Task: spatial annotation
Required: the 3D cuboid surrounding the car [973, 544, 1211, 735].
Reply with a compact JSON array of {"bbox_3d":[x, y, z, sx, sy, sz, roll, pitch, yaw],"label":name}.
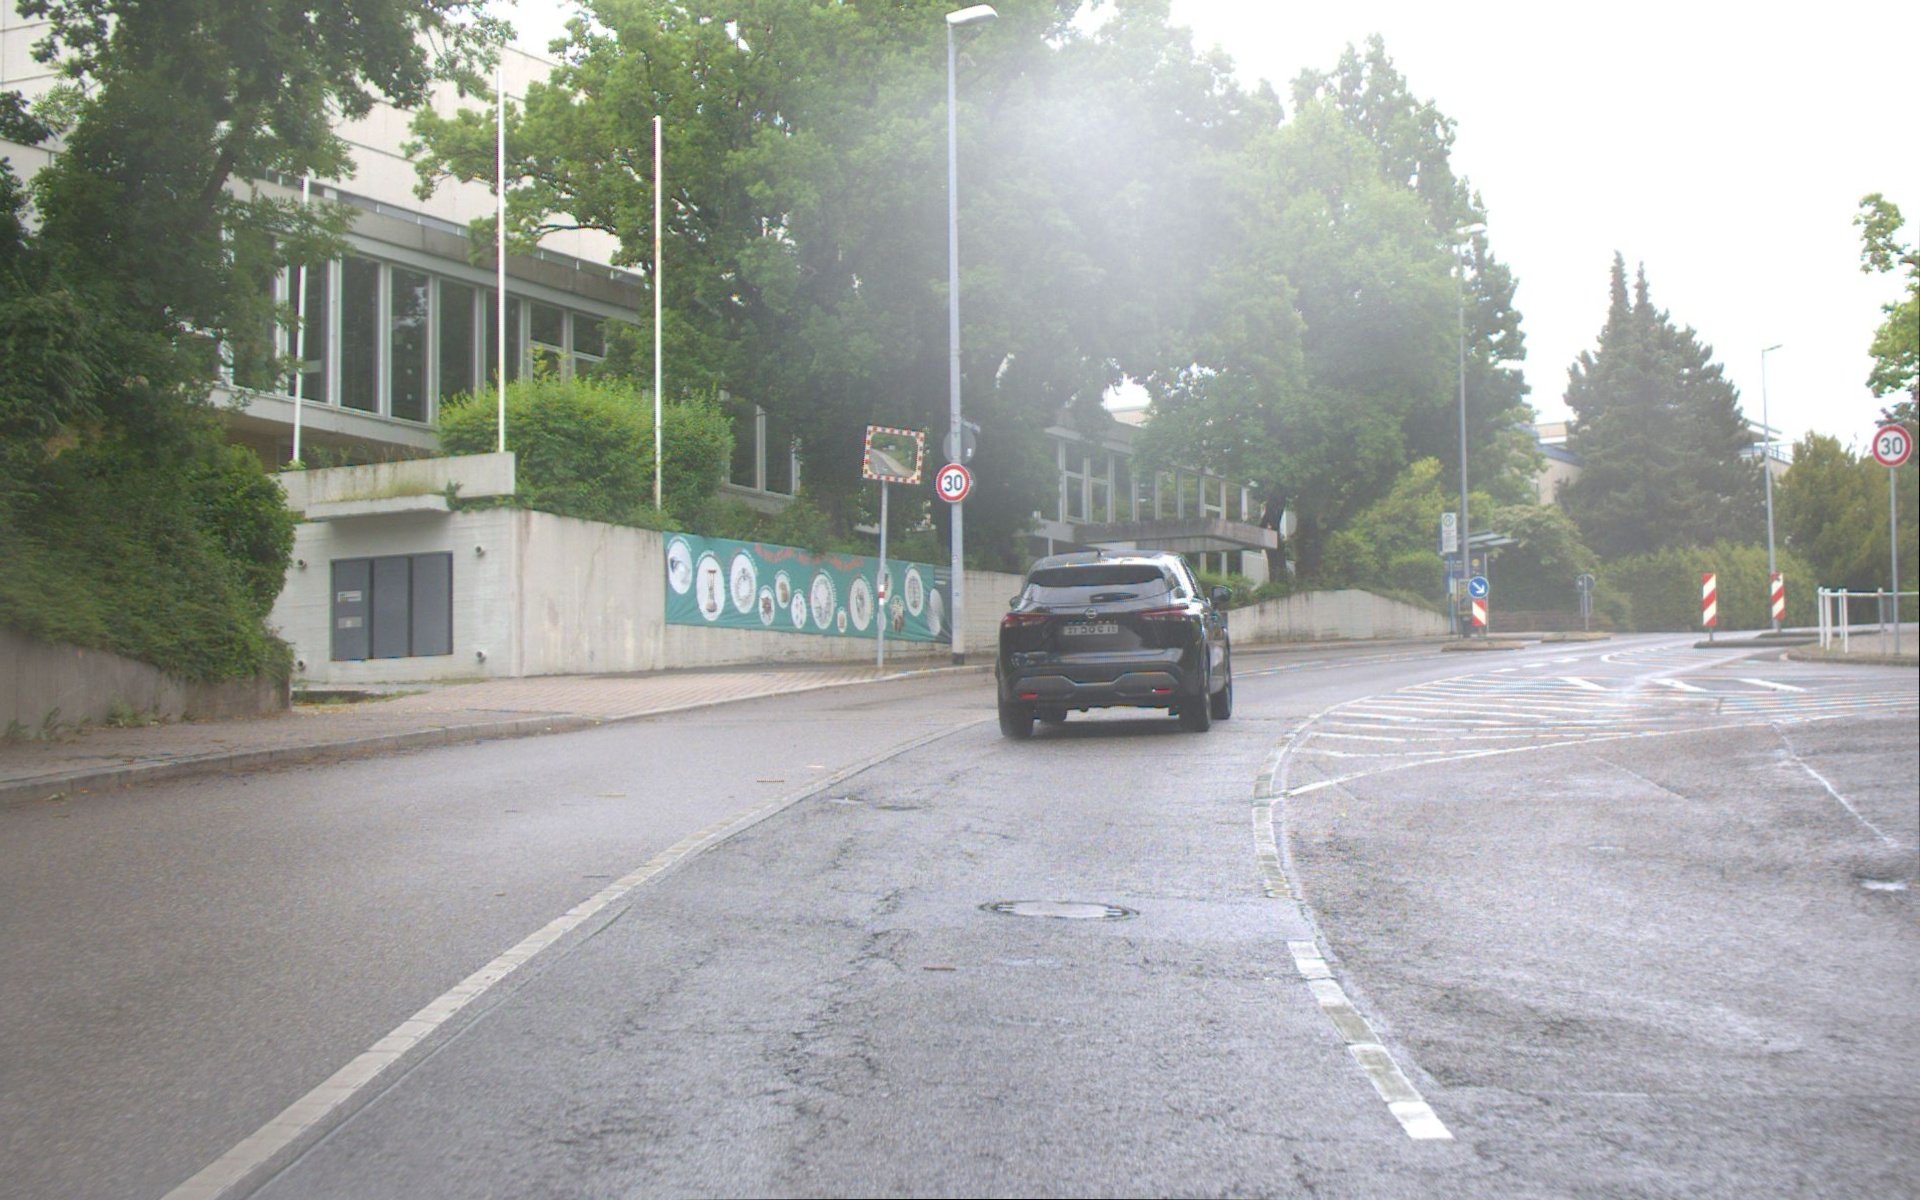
[{"bbox_3d":[1.257,0.307,31.043,1.928,1.607,3.999,0,1,5],"label":"car"}]
